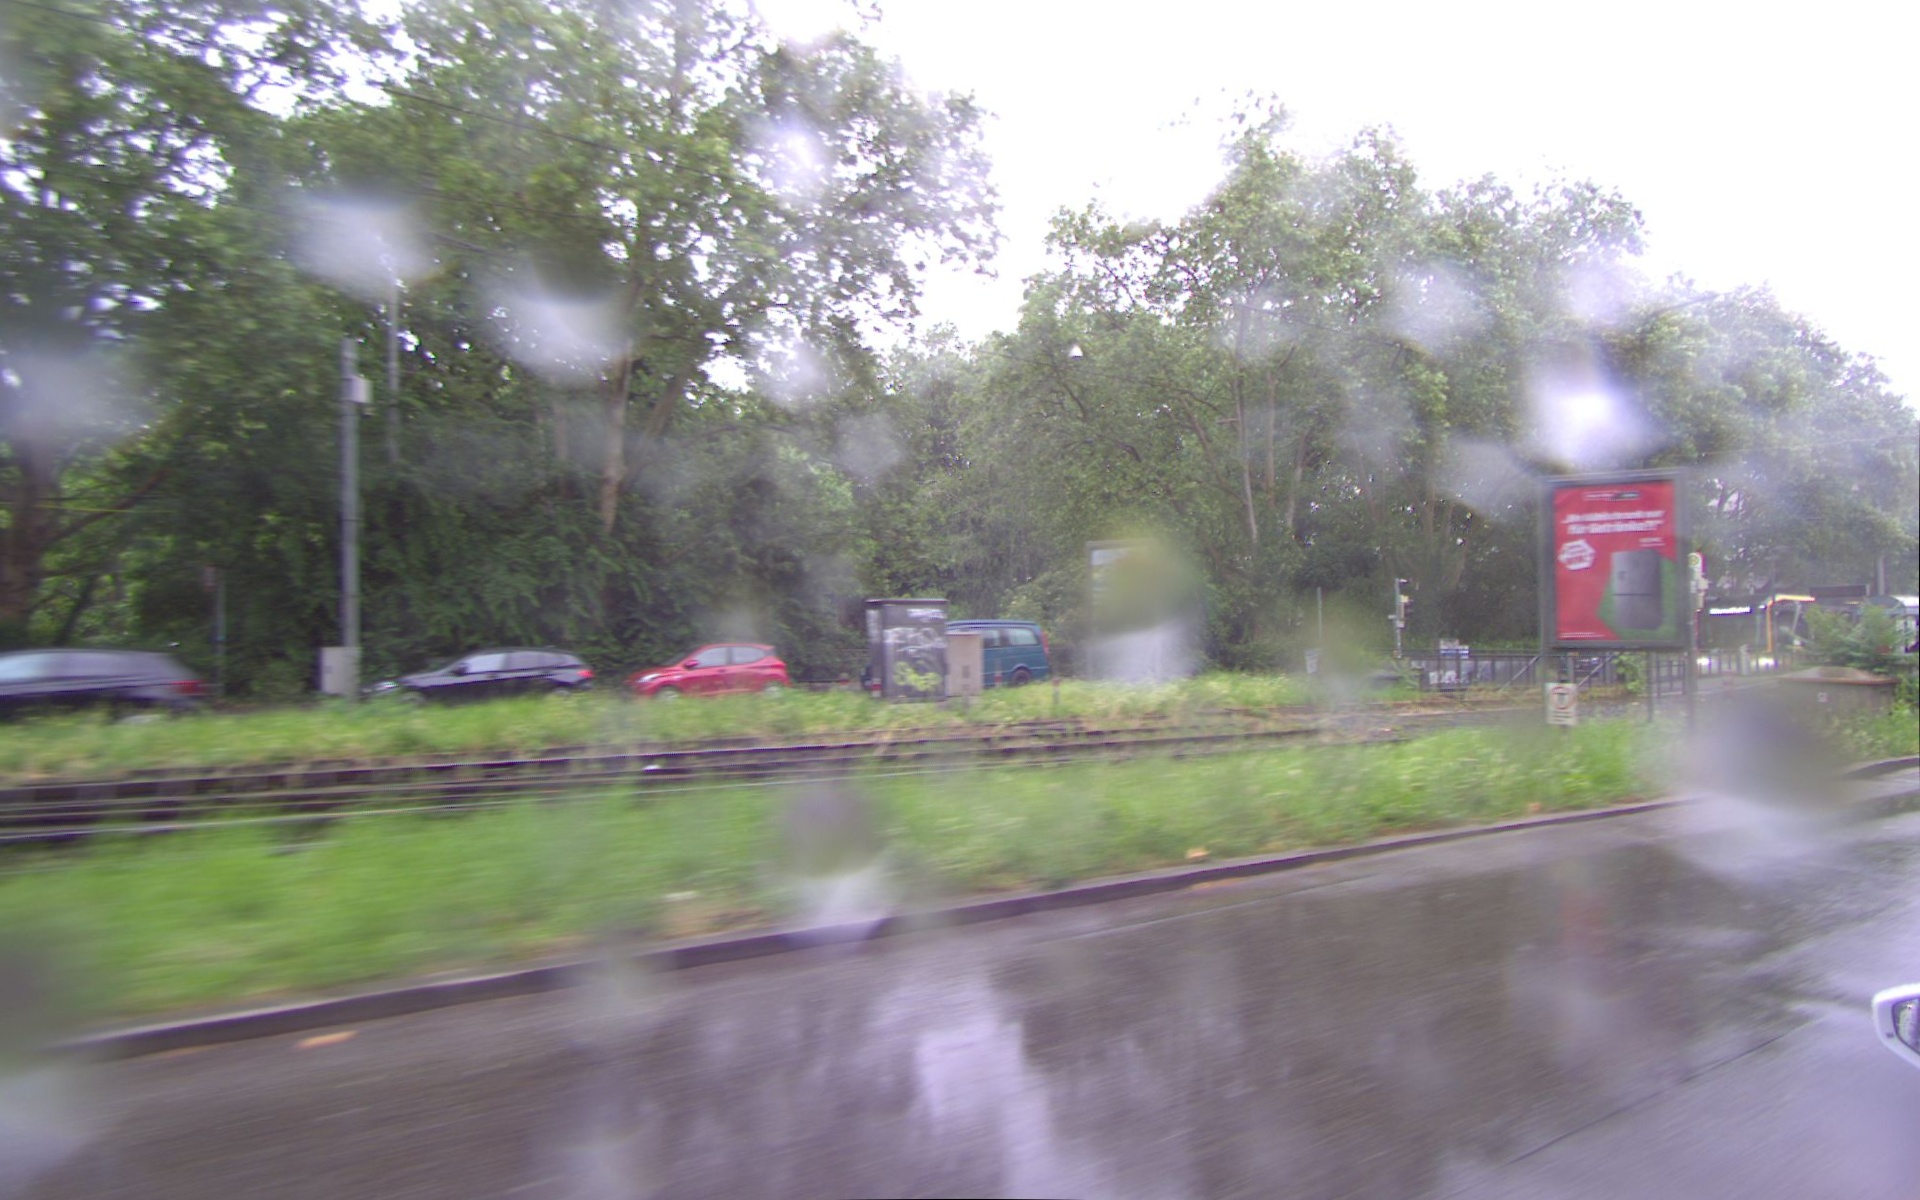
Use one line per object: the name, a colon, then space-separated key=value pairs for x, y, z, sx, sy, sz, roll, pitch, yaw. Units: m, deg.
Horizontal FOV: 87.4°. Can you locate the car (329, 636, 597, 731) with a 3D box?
car: x=-9.796 y=1.594 z=19.931 sx=4.560 sy=1.679 sz=2.021 roll=2 pitch=-4 yaw=-33

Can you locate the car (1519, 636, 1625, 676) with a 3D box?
car: x=24.523 y=2.235 z=40.246 sx=3.953 sy=1.537 sz=1.985 roll=1 pitch=-3 yaw=-30

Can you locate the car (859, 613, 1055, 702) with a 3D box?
car: x=-0.033 y=1.481 z=25.921 sx=4.755 sy=2.120 sz=2.019 roll=2 pitch=-4 yaw=-34

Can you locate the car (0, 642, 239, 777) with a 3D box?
car: x=-12.370 y=1.426 z=13.478 sx=4.232 sy=1.679 sz=2.020 roll=2 pitch=-4 yaw=-33

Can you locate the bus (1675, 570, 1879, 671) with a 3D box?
bus: x=35.347 y=0.990 z=43.215 sx=12.108 sy=3.889 sz=3.014 roll=2 pitch=-1 yaw=-32

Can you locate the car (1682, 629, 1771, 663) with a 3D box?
car: x=35.934 y=2.150 z=47.097 sx=3.953 sy=1.537 sz=1.926 roll=1 pitch=-3 yaw=-30

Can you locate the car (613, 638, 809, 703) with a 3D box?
car: x=-5.559 y=1.568 z=22.587 sx=3.946 sy=1.334 sz=1.725 roll=2 pitch=-4 yaw=-34

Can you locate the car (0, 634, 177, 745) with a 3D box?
car: x=-15.503 y=1.406 z=15.969 sx=4.560 sy=1.679 sz=2.021 roll=2 pitch=-4 yaw=-33
